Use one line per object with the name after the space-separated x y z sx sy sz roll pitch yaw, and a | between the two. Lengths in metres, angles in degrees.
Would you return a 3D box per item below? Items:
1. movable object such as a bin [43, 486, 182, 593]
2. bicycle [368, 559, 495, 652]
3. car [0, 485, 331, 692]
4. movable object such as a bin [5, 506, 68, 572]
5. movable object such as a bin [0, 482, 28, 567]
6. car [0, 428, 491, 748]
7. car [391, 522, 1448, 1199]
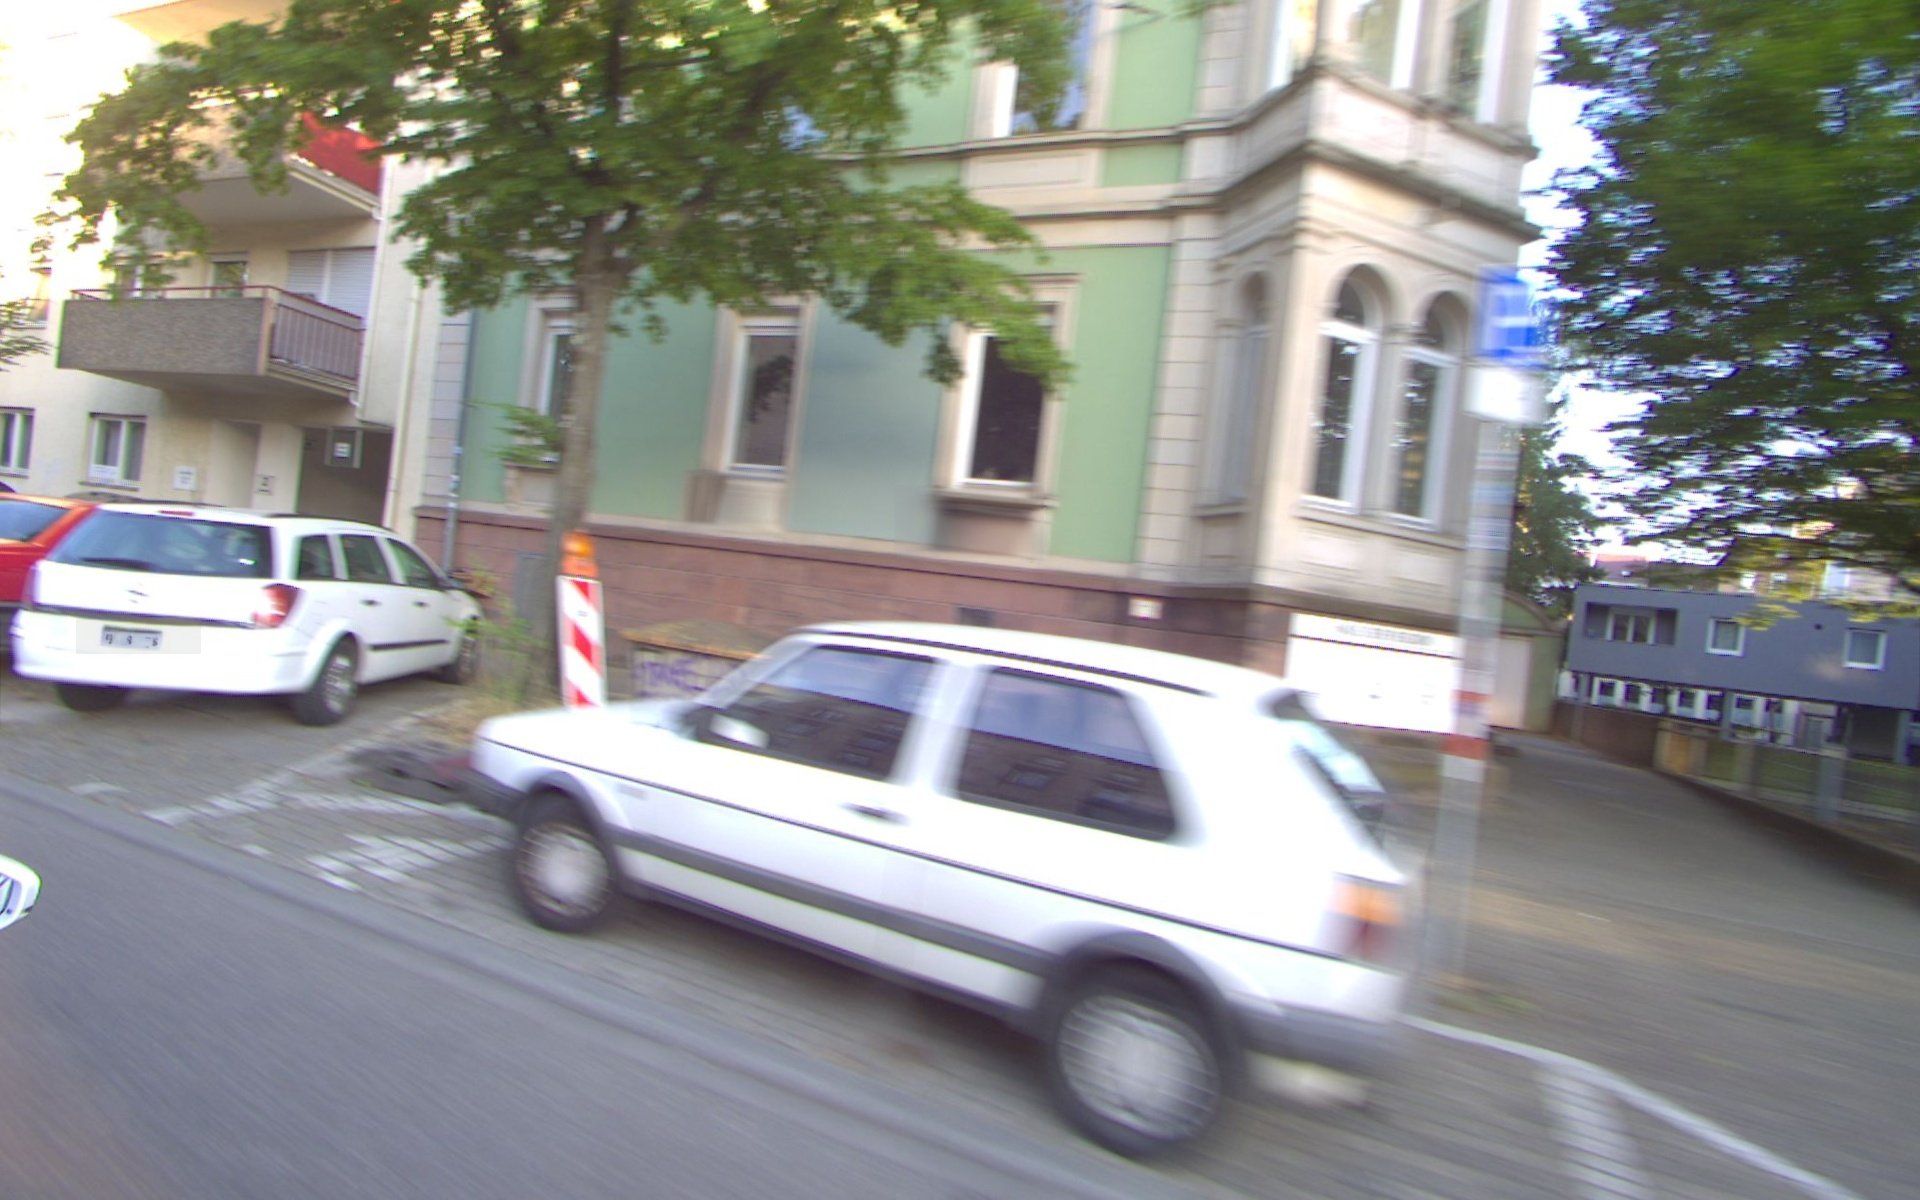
-14.044 -0.984 16.694 1.455 1.520 1.116 7 0 23 | movable object such as a bin
-7.366 0.081 14.012 1.528 1.087 0.652 7 0 23 | bicycle
-7.704 -0.152 8.938 1.616 1.471 4.209 7 -1 -3 | car
-16.385 -1.070 17.856 0.560 1.060 0.555 7 0 22 | movable object such as a bin
-18.125 -1.469 18.333 1.247 1.520 1.144 7 0 23 | movable object such as a bin
-5.421 -0.057 8.191 1.693 1.745 4.203 7 -1 -10 | car
-0.287 0.675 4.140 3.931 1.573 1.681 7 3 28 | car
